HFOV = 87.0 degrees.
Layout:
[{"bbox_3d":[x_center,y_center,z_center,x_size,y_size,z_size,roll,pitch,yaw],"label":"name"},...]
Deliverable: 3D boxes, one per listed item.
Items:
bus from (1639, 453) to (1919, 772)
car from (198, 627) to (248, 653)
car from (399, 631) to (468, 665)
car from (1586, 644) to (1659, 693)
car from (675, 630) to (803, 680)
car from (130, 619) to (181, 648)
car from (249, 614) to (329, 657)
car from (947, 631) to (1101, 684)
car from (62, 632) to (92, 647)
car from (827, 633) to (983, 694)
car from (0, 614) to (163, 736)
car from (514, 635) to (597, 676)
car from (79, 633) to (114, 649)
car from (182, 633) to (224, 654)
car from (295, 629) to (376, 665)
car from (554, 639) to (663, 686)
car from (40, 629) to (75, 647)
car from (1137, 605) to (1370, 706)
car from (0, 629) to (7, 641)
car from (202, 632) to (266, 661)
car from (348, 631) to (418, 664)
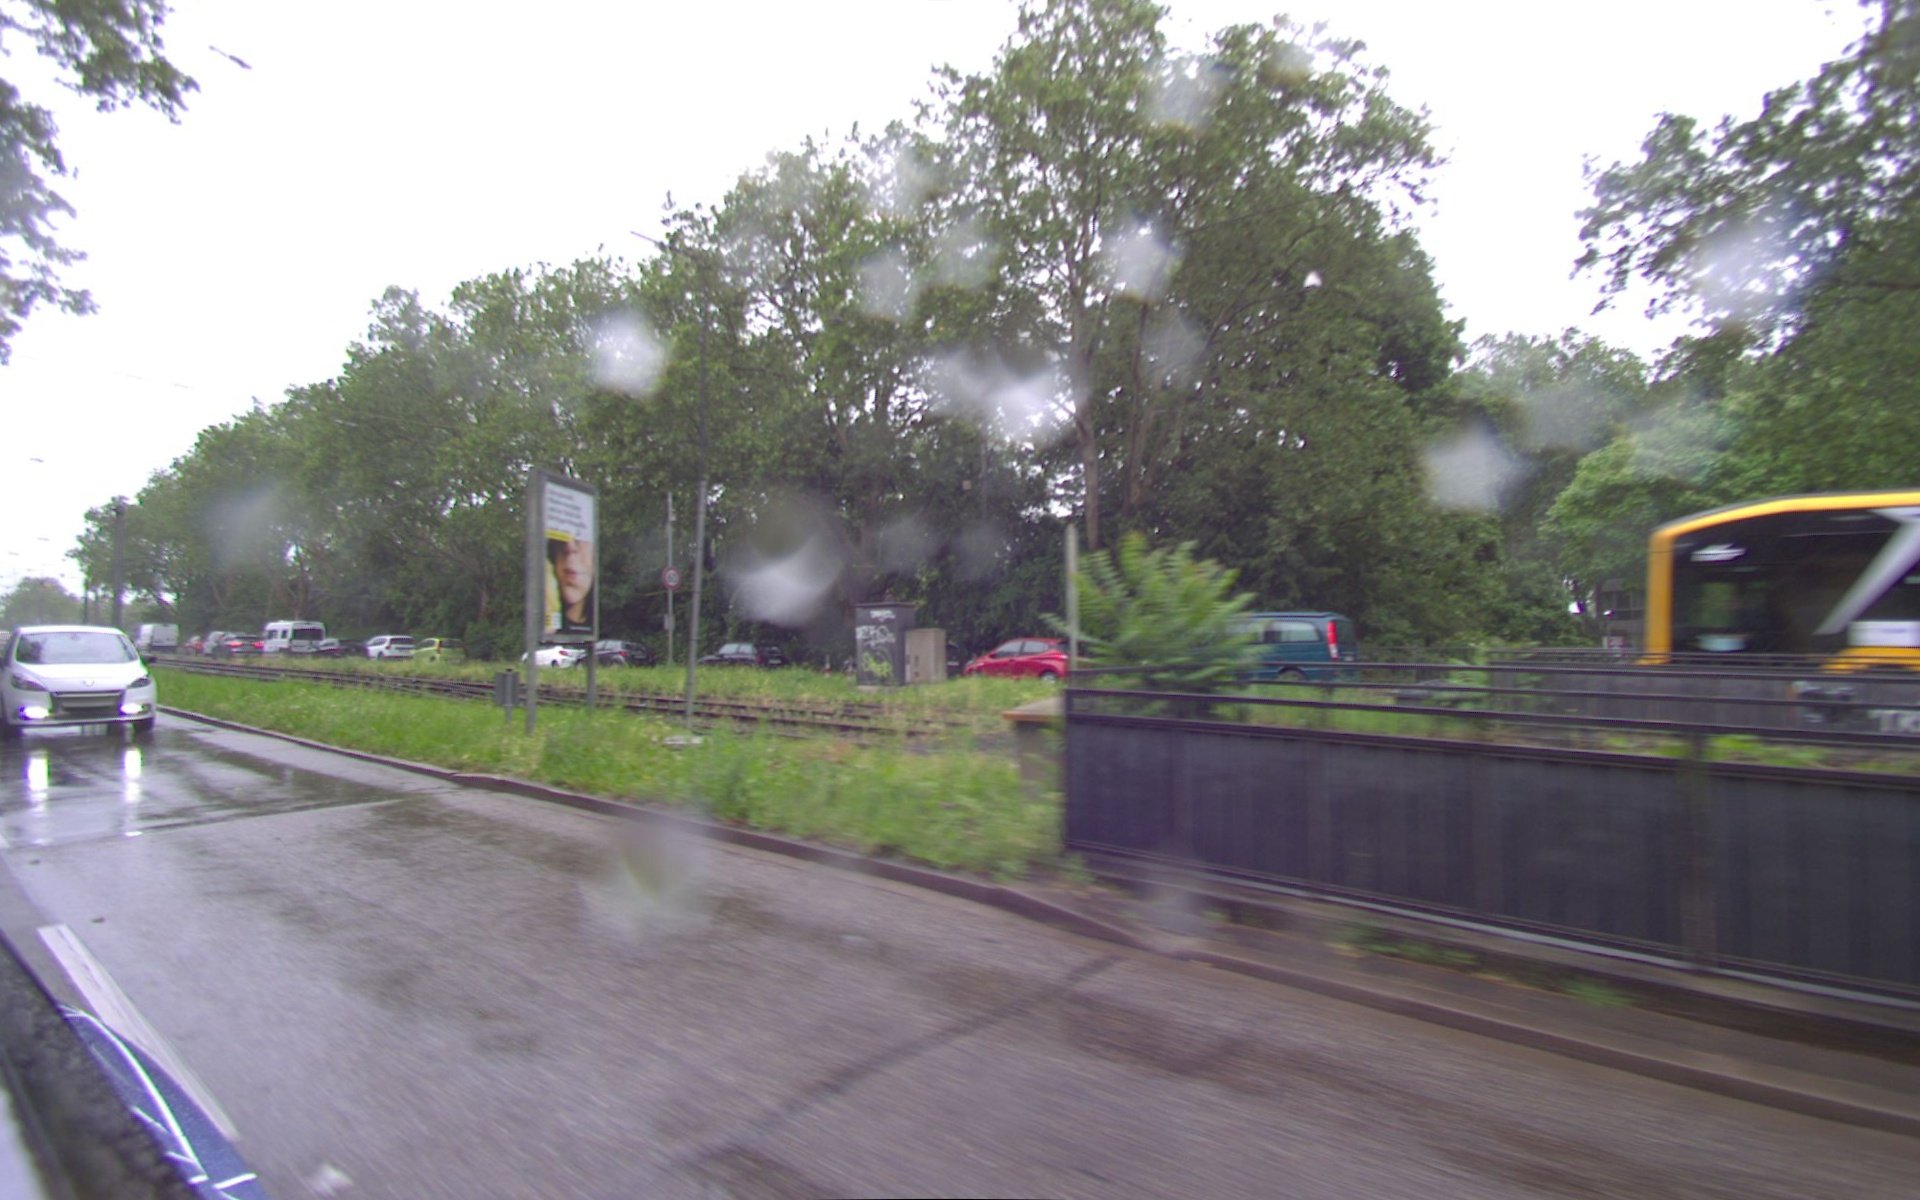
[{"bbox_3d":[15.129,0.091,11.300,12.238,3.867,2.998,-1,-1,41],"label":"bus"},{"bbox_3d":[-54.531,2.953,74.851,4.638,1.876,1.936,-1,-3,41],"label":"car"},{"bbox_3d":[-26.626,2.409,51.165,3.810,1.661,1.743,-1,-3,40],"label":"car"},{"bbox_3d":[17.580,1.781,26.839,1.307,1.038,2.639,0,1,40],"label":"car"},{"bbox_3d":[-7.881,1.916,35.879,4.606,1.670,2.011,-1,-3,40],"label":"car"},{"bbox_3d":[-70.844,2.901,89.072,6.136,2.465,2.305,-1,-3,41],"label":"car"},{"bbox_3d":[-42.883,2.266,64.613,6.560,2.560,2.365,-1,-3,40],"label":"car"},{"bbox_3d":[1.720,1.549,27.877,3.981,1.327,1.719,-1,-3,38],"label":"car"},{"bbox_3d":[-99.422,4.430,113.946,4.367,1.663,1.866,-1,-3,41],"label":"car"},{"bbox_3d":[-1.738,1.891,30.850,4.606,1.670,2.011,-1,-3,40],"label":"car"},{"bbox_3d":[-13.969,1.068,15.818,4.264,1.636,1.844,-1,-1,44],"label":"car"},{"bbox_3d":[-17.646,2.397,44.106,3.810,1.661,1.743,-1,-3,40],"label":"car"},{"bbox_3d":[-91.257,4.310,106.964,4.381,1.564,2.013,-1,-3,40],"label":"car"},{"bbox_3d":[-59.020,3.396,78.861,4.023,1.564,1.799,-1,-3,41],"label":"car"},{"bbox_3d":[-30.240,2.255,48.957,4.272,1.670,2.011,-1,-3,39],"label":"car"},{"bbox_3d":[-14.331,2.490,41.165,4.690,1.764,2.011,-1,-3,40],"label":"car"},{"bbox_3d":[-90.847,3.857,101.852,4.255,1.764,2.011,-1,-3,40],"label":"car"},{"bbox_3d":[6.717,1.232,23.445,4.797,2.109,2.012,-1,-3,38],"label":"car"},{"bbox_3d":[-132.317,4.807,138.645,4.765,1.579,1.958,-1,-3,40],"label":"car"},{"bbox_3d":[-43.153,2.731,60.106,4.391,1.670,1.993,-1,-3,40],"label":"car"},{"bbox_3d":[-31.148,2.547,54.596,4.527,1.741,1.732,-1,-3,40],"label":"car"}]
